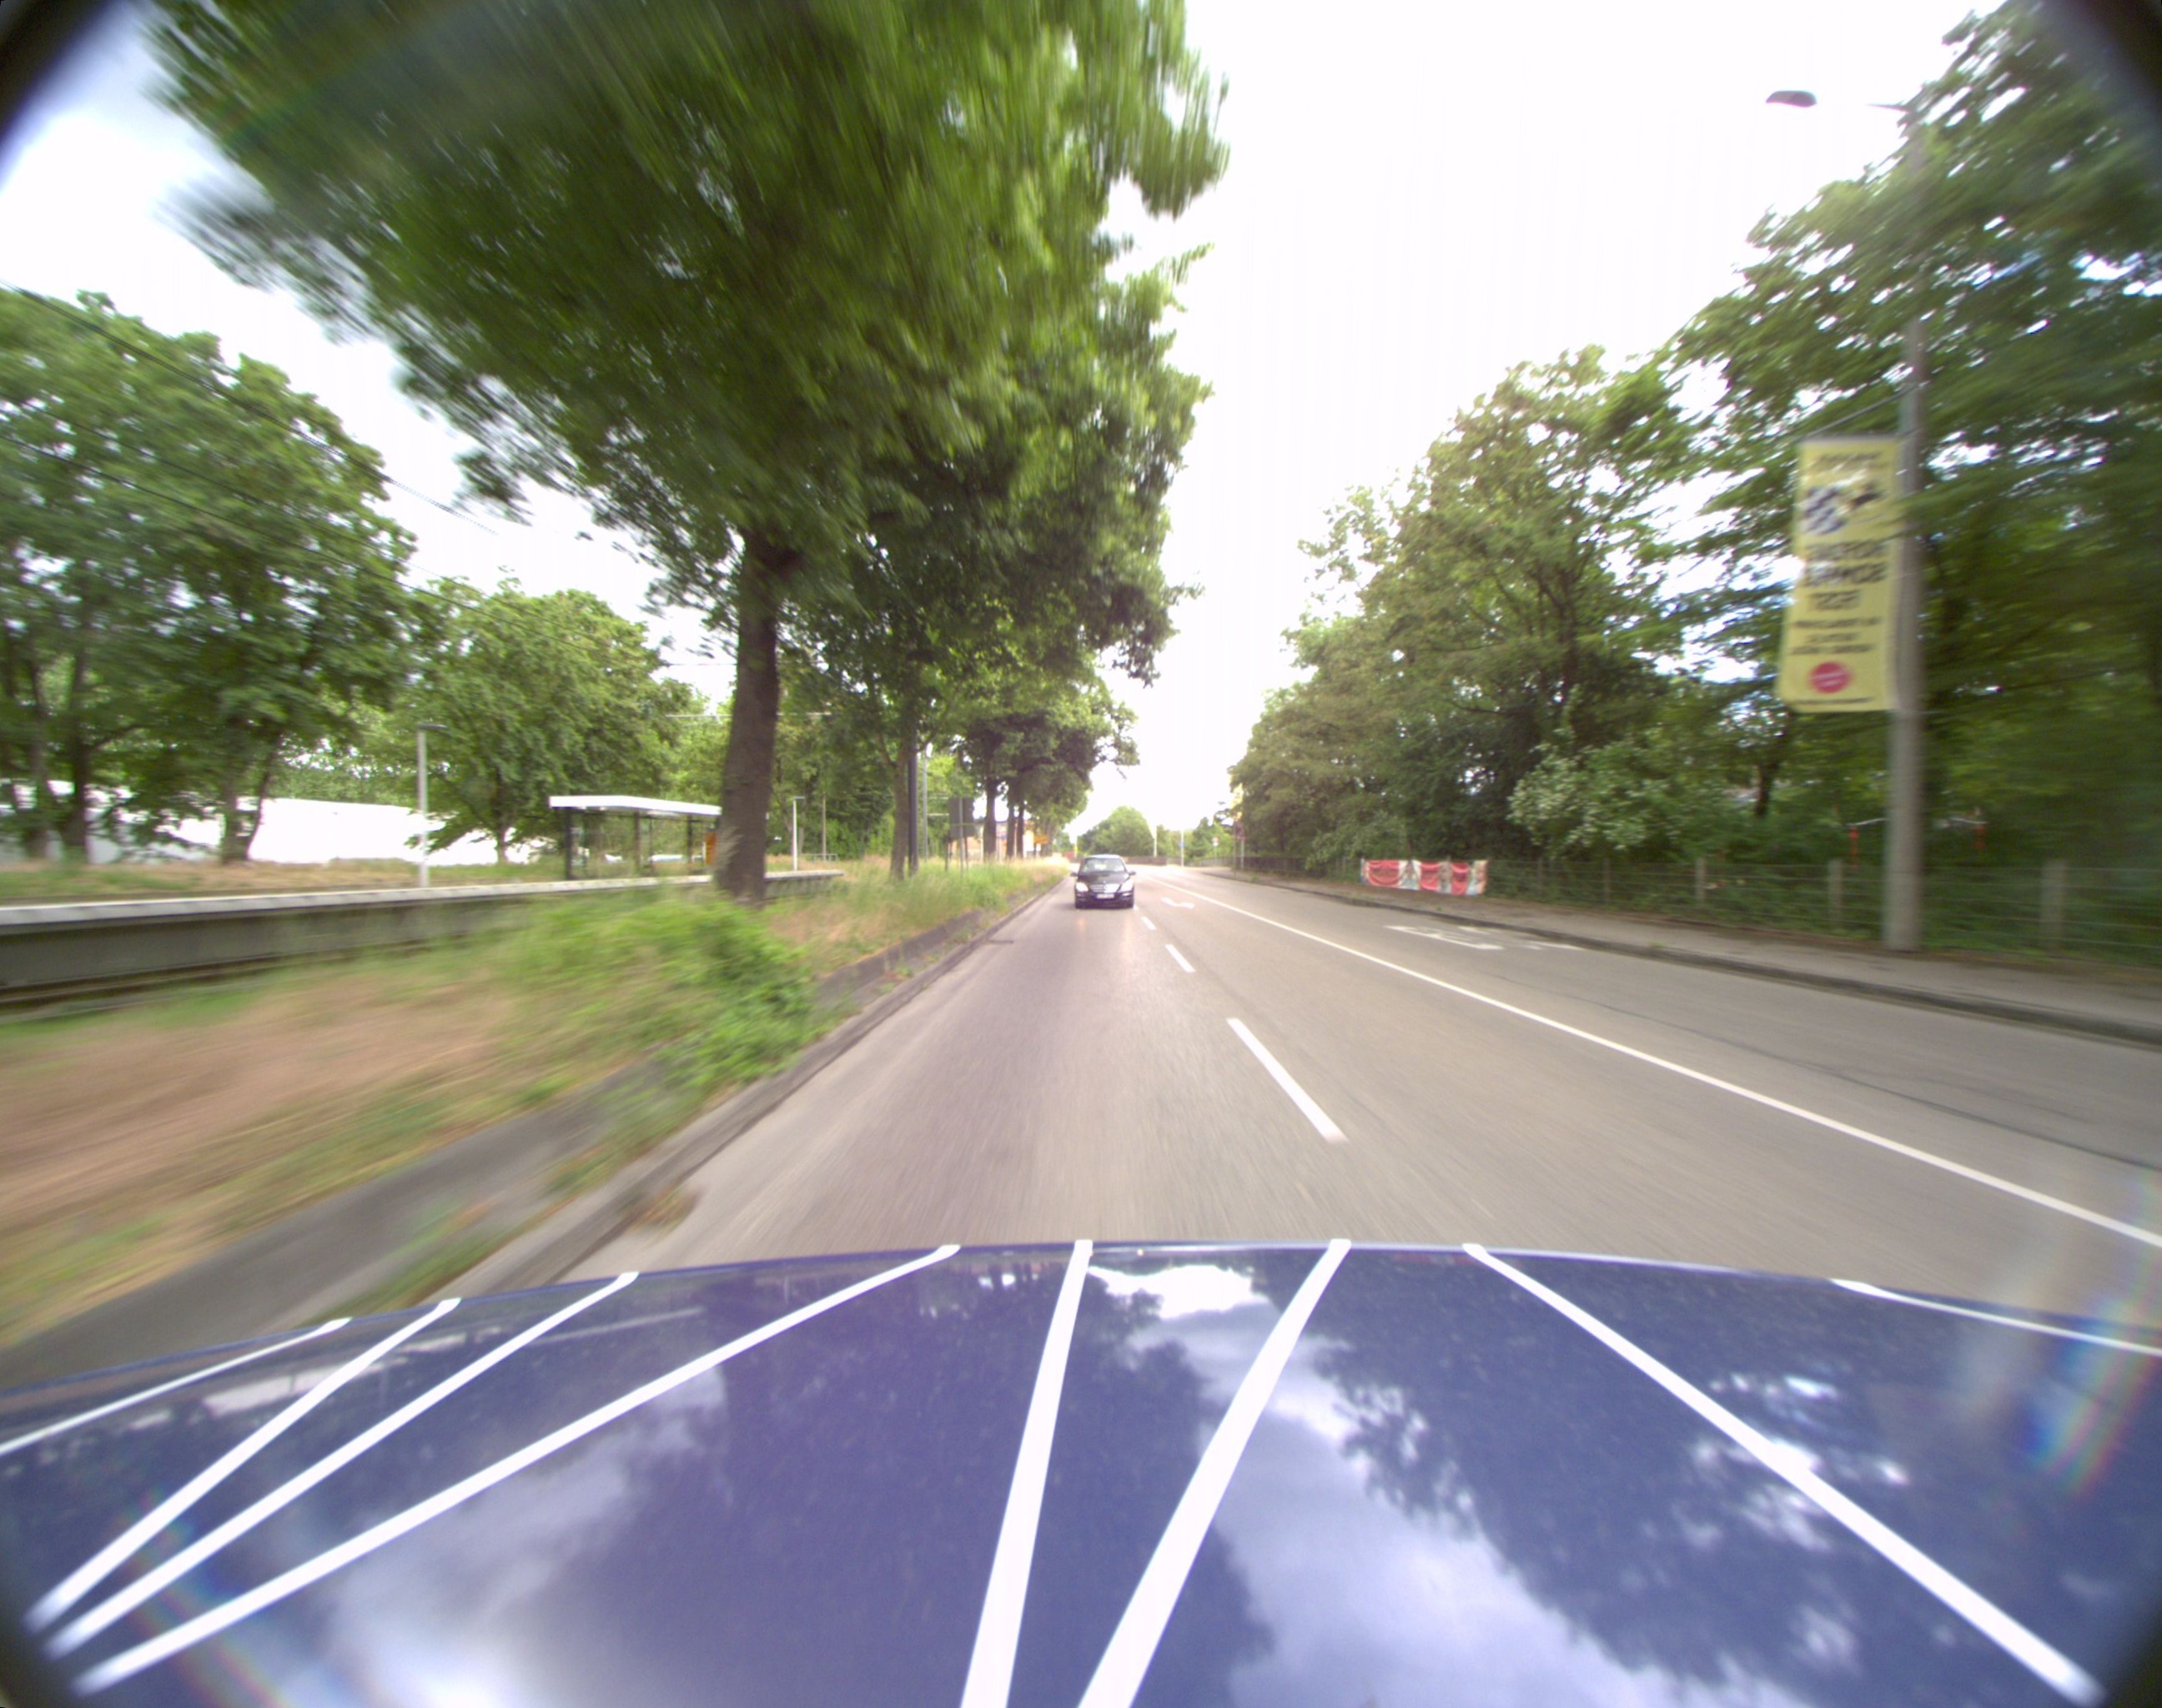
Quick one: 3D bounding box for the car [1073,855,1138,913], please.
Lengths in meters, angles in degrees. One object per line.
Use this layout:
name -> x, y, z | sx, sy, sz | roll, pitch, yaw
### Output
car -> 0.693, 0.825, 22.769 | 1.751, 1.556, 4.074 | 1, 0, 1
